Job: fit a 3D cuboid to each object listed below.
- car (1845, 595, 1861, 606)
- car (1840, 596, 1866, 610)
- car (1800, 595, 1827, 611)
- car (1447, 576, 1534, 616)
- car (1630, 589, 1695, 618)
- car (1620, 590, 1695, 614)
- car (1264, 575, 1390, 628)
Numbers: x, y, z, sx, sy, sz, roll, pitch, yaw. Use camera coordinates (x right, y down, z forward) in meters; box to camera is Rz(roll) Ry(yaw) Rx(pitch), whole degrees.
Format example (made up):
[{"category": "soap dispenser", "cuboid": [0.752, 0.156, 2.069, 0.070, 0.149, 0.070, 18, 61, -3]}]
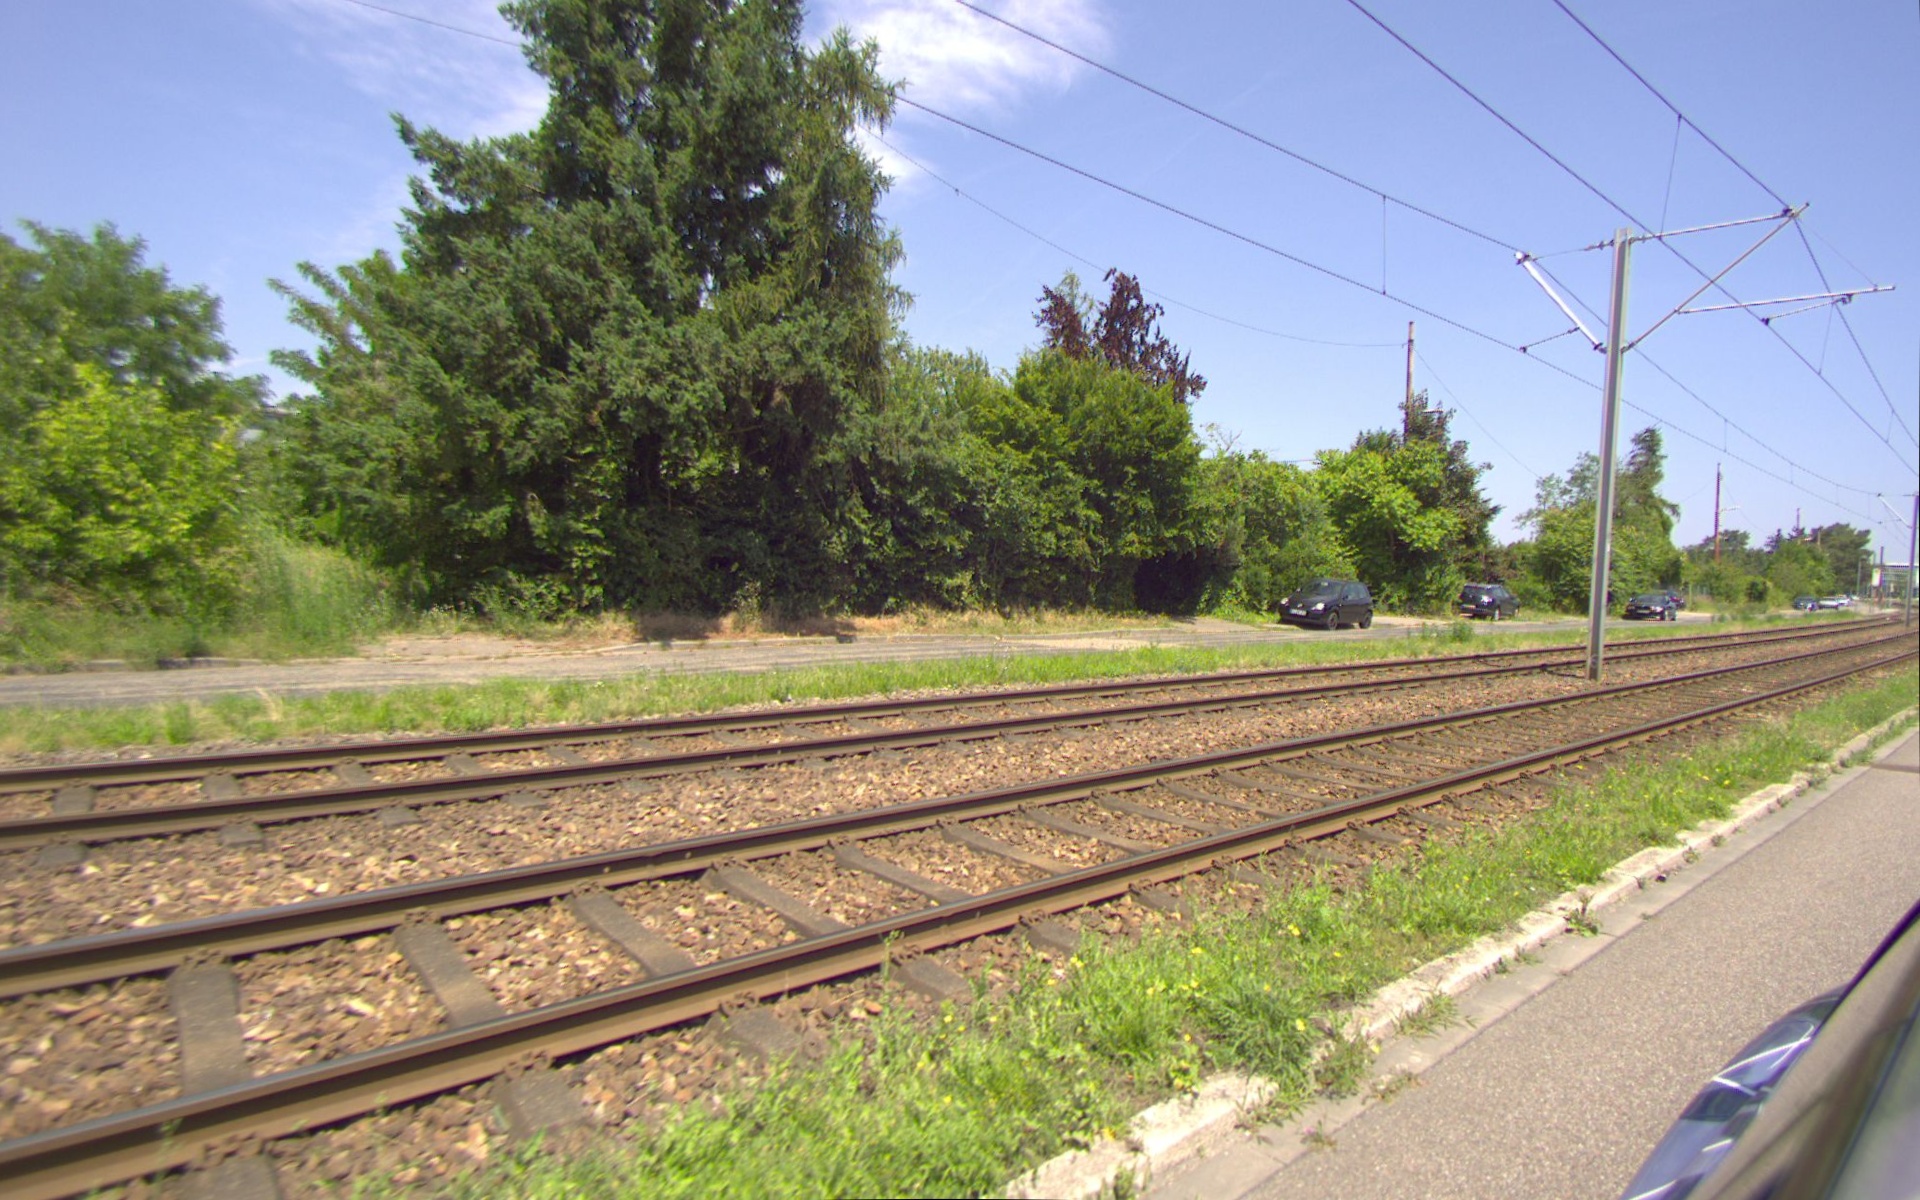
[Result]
[{"category": "car", "cuboid": [135.131, 0.061, 153.147, 1.713, 1.507, 3.939, 3, 2, 43]}, {"category": "car", "cuboid": [98.666, 0.301, 111.818, 1.940, 1.439, 3.936, 3, 2, 44]}, {"category": "car", "cuboid": [84.428, 0.269, 100.125, 1.621, 1.439, 4.794, 3, 2, 45]}, {"category": "car", "cuboid": [22.625, -0.175, 43.093, 4.481, 1.580, 1.936, 0, 2, -44]}, {"category": "car", "cuboid": [35.455, 0.160, 51.016, 4.440, 1.346, 1.863, 0, 2, -44]}, {"category": "car", "cuboid": [49.567, 0.132, 71.942, 1.864, 1.536, 4.000, 0, 2, -37]}, {"category": "car", "cuboid": [11.142, 0.019, 30.619, 3.931, 1.488, 1.917, 0, 2, -41]}]
